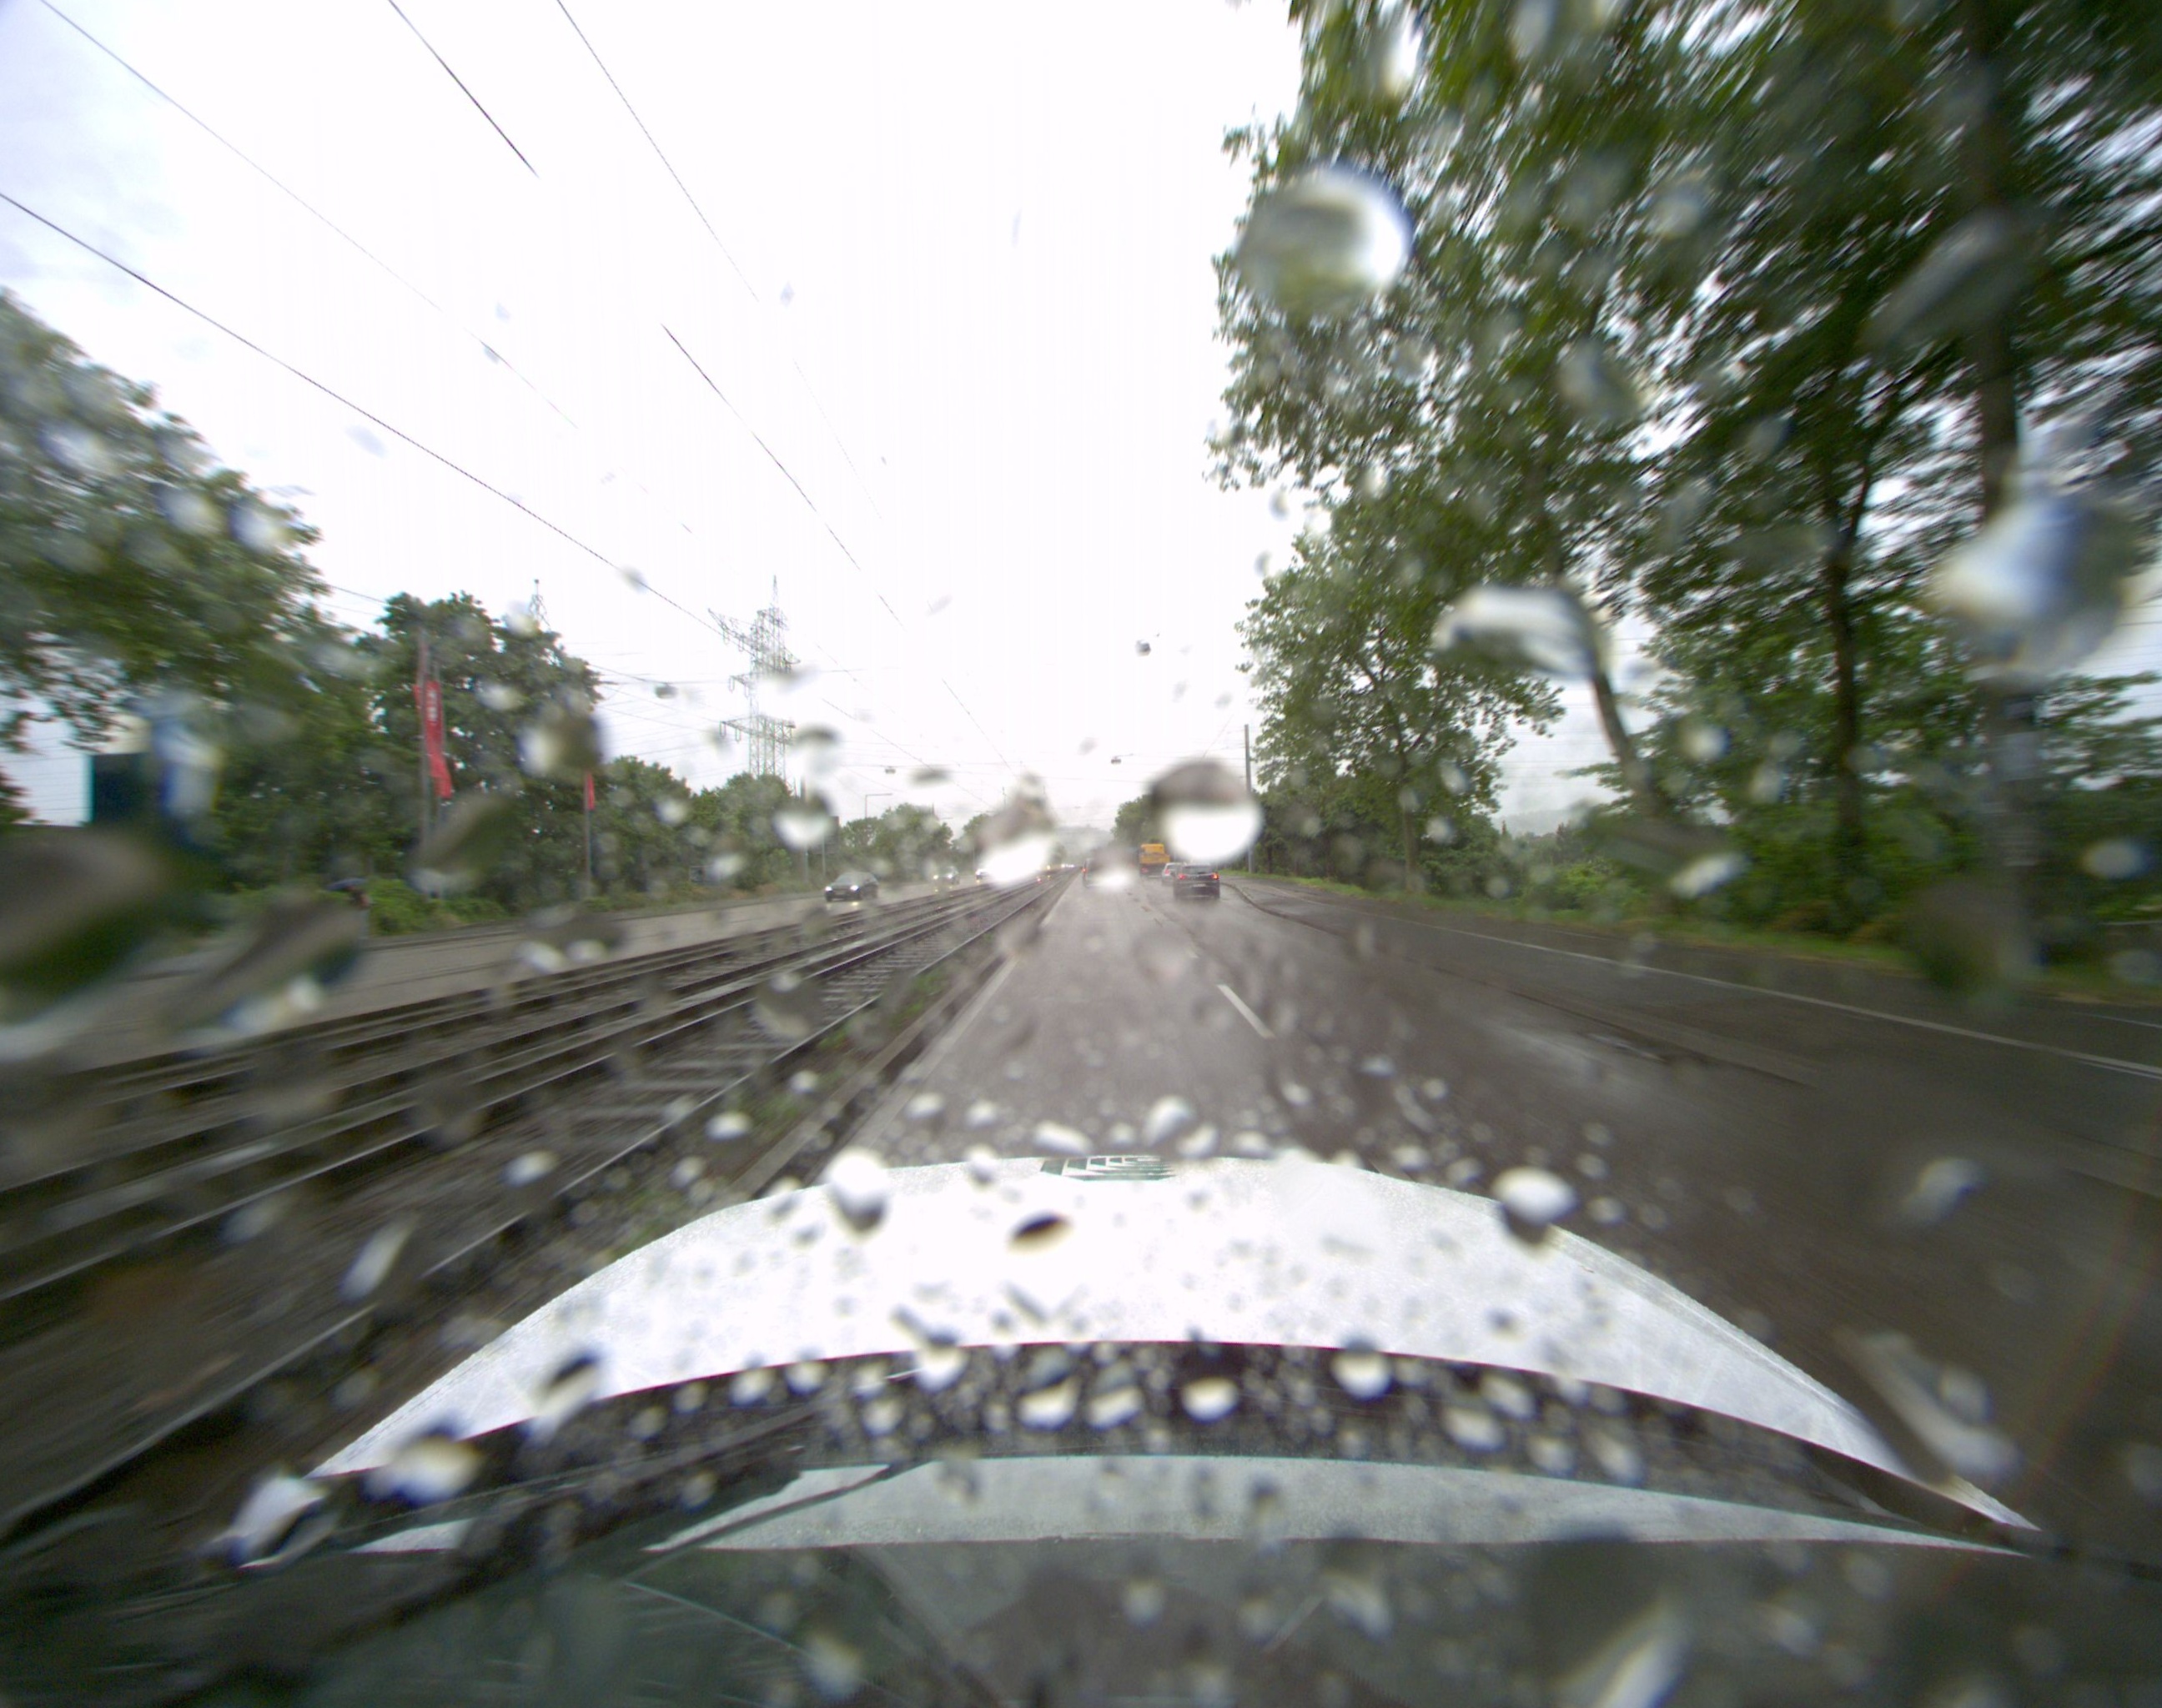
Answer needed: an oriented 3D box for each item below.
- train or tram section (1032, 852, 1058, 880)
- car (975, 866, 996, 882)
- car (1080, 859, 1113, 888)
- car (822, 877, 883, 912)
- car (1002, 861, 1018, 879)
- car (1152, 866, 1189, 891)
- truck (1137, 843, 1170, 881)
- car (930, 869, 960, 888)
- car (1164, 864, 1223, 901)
[{"bbox_3d":[-5.134,1.707,119.712,2.855,3.706,17.886,0,0,0],"label":"train or tram section"},{"bbox_3d":[-11.750,2.410,100.262,1.881,1.884,4.623,0,-1,2],"label":"car"},{"bbox_3d":[0.986,1.185,50.432,1.982,1.684,3.741,0,-1,2],"label":"car"},{"bbox_3d":[-12.065,2.097,43.318,1.881,1.642,4.398,0,-1,2],"label":"car"},{"bbox_3d":[-10.636,2.354,122.385,1.880,2.734,5.305,0,-1,2],"label":"car"},{"bbox_3d":[5.714,1.563,52.440,1.623,1.503,4.600,0,0,-3],"label":"car"},{"bbox_3d":[6.547,0.741,74.196,2.546,3.257,6.935,0,-1,2],"label":"truck"},{"bbox_3d":[-12.364,2.223,74.348,1.881,1.642,4.348,0,-1,2],"label":"car"},{"bbox_3d":[4.459,1.119,32.889,1.881,1.357,4.278,0,0,1],"label":"car"}]
